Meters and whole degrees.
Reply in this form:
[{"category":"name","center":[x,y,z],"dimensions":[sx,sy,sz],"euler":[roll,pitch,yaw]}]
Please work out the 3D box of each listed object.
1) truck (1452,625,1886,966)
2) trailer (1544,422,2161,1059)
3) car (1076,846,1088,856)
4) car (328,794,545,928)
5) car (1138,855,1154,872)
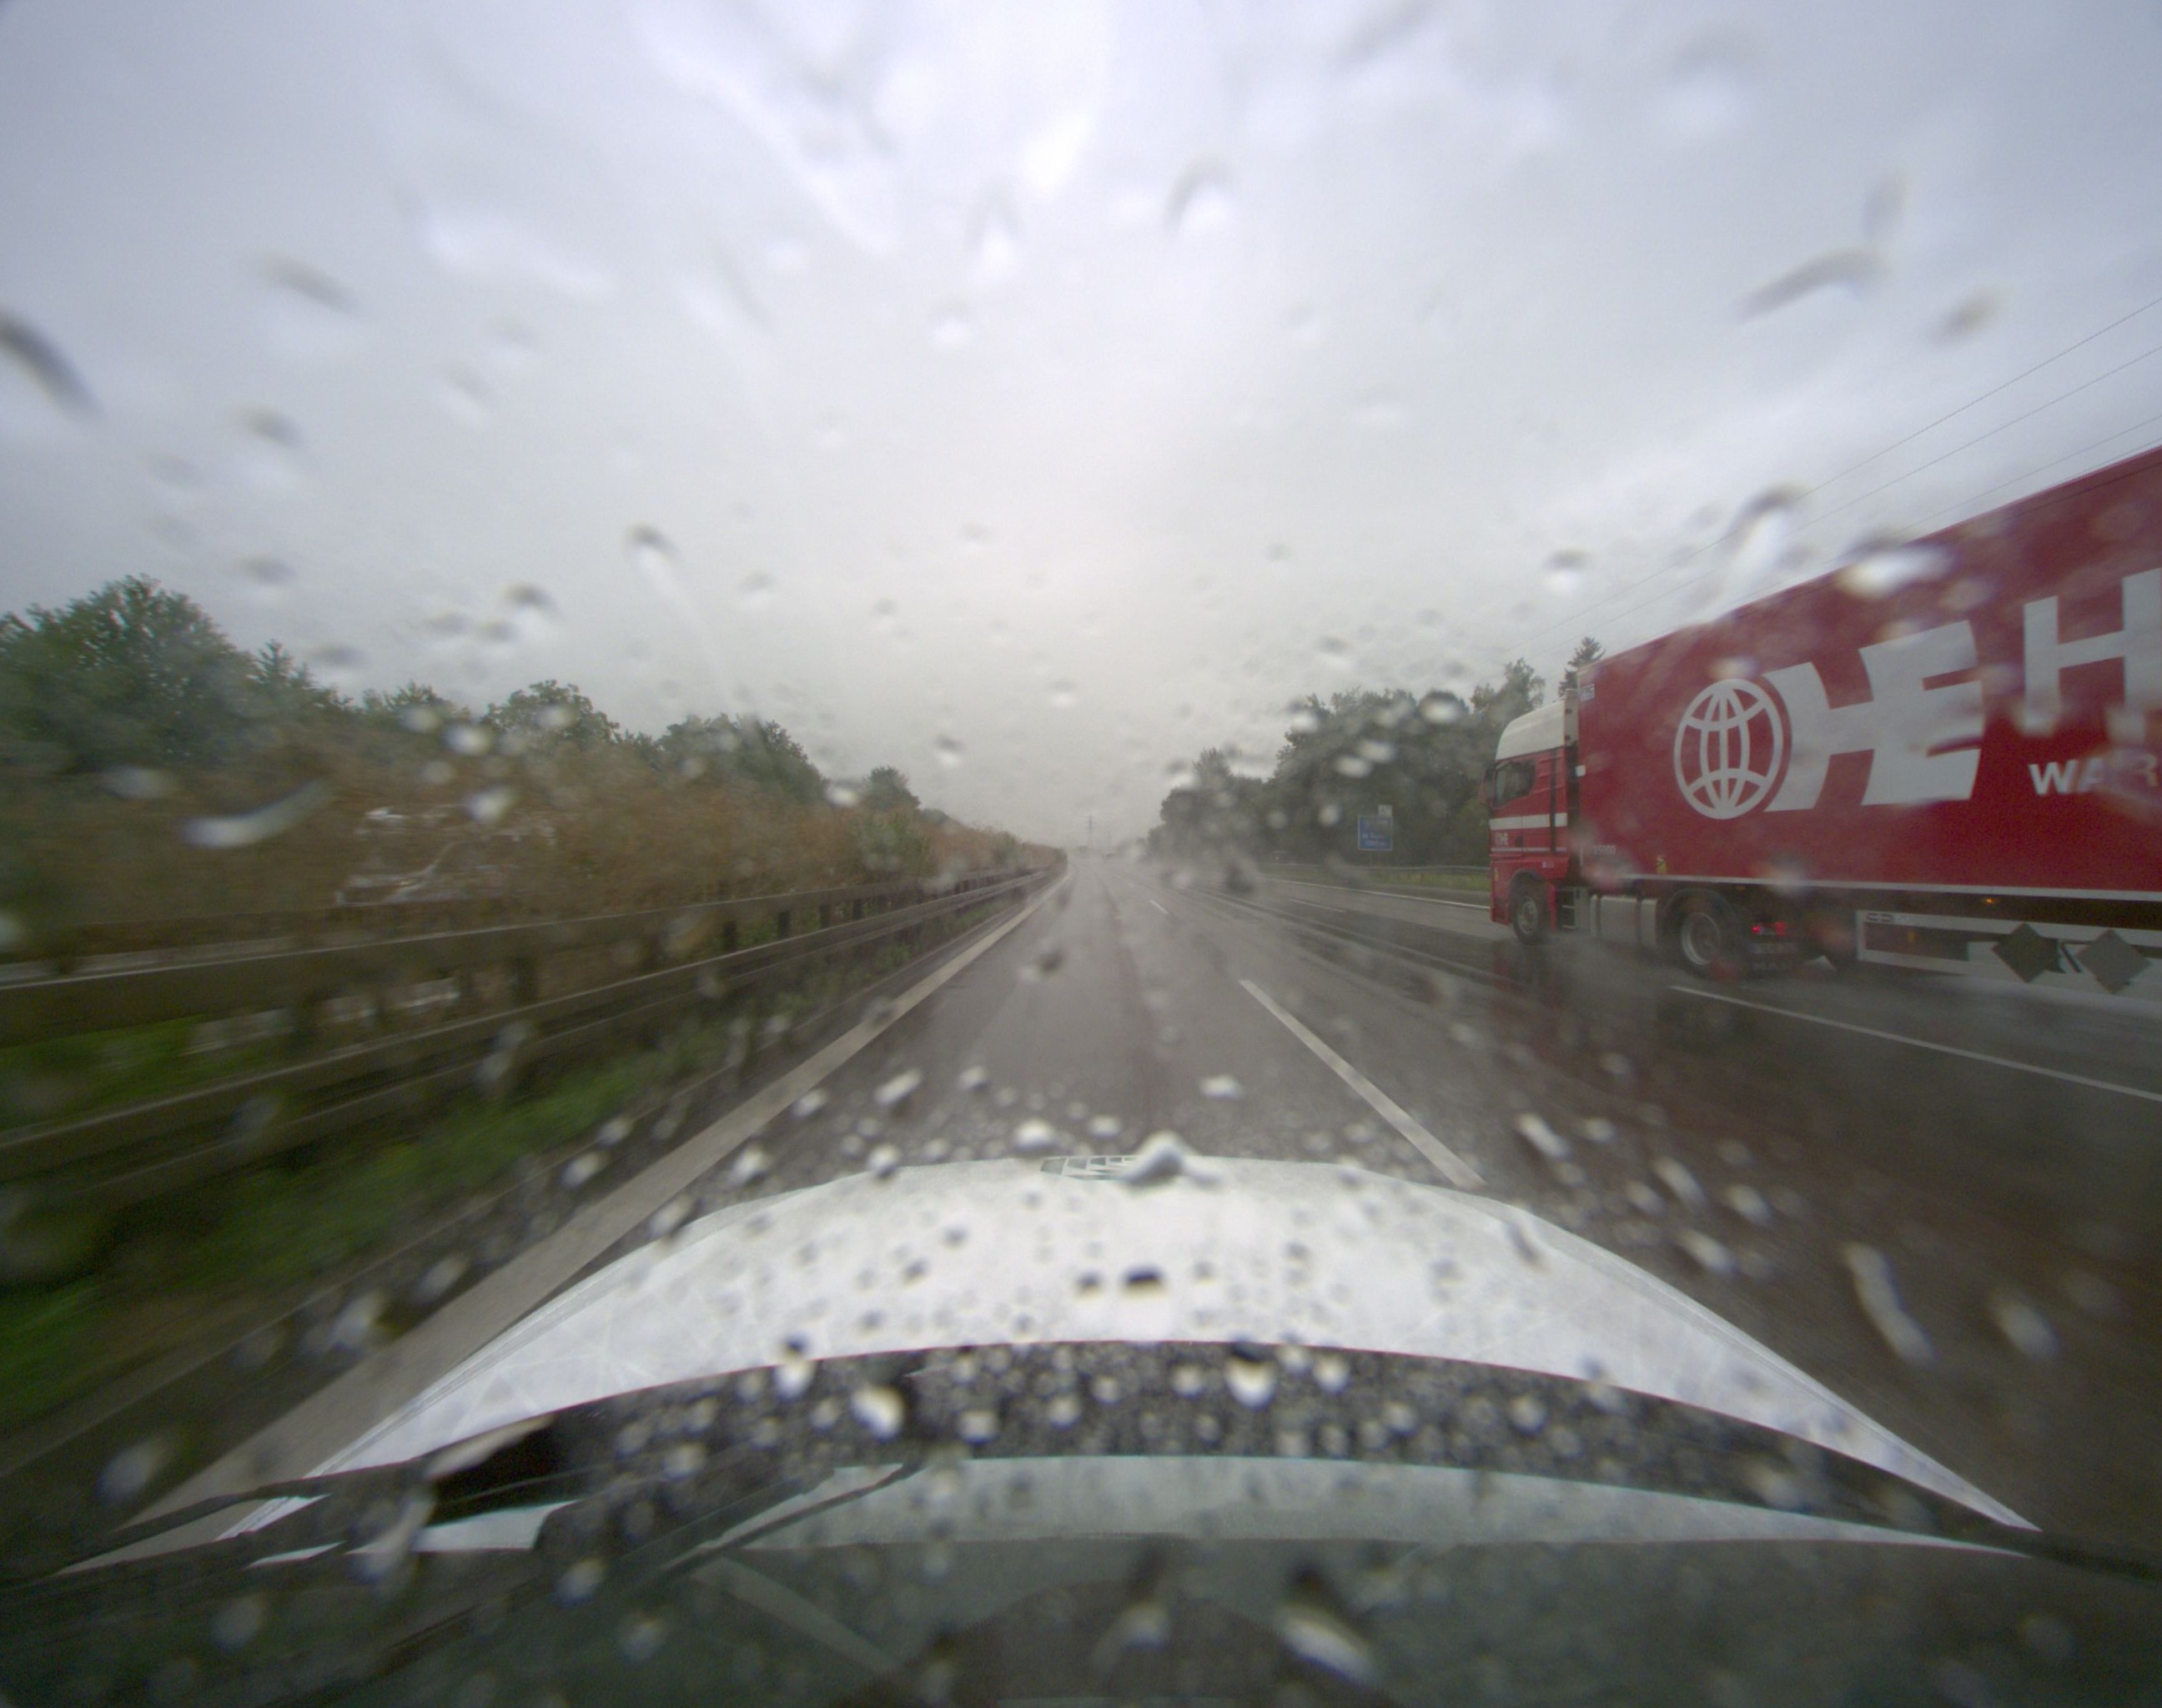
[{"category":"truck","center":[8.120,-0.679,12.252],"dimensions":[2.611,3.955,5.433],"euler":[-1,0,1]},{"category":"trailer","center":[8.031,-0.719,5.095],"dimensions":[2.611,3.955,13.631],"euler":[-1,0,1]},{"category":"car","center":[0.273,-0.993,258.447],"dimensions":[3.193,3.192,7.247],"euler":[-1,0,-4]},{"category":"car","center":[-16.395,0.176,21.088],"dimensions":[1.986,3.055,4.419],"euler":[-1,-1,1]},{"category":"car","center":[8.559,1.249,107.757],"dimensions":[1.801,2.158,3.999],"euler":[-1,0,-1]}]
